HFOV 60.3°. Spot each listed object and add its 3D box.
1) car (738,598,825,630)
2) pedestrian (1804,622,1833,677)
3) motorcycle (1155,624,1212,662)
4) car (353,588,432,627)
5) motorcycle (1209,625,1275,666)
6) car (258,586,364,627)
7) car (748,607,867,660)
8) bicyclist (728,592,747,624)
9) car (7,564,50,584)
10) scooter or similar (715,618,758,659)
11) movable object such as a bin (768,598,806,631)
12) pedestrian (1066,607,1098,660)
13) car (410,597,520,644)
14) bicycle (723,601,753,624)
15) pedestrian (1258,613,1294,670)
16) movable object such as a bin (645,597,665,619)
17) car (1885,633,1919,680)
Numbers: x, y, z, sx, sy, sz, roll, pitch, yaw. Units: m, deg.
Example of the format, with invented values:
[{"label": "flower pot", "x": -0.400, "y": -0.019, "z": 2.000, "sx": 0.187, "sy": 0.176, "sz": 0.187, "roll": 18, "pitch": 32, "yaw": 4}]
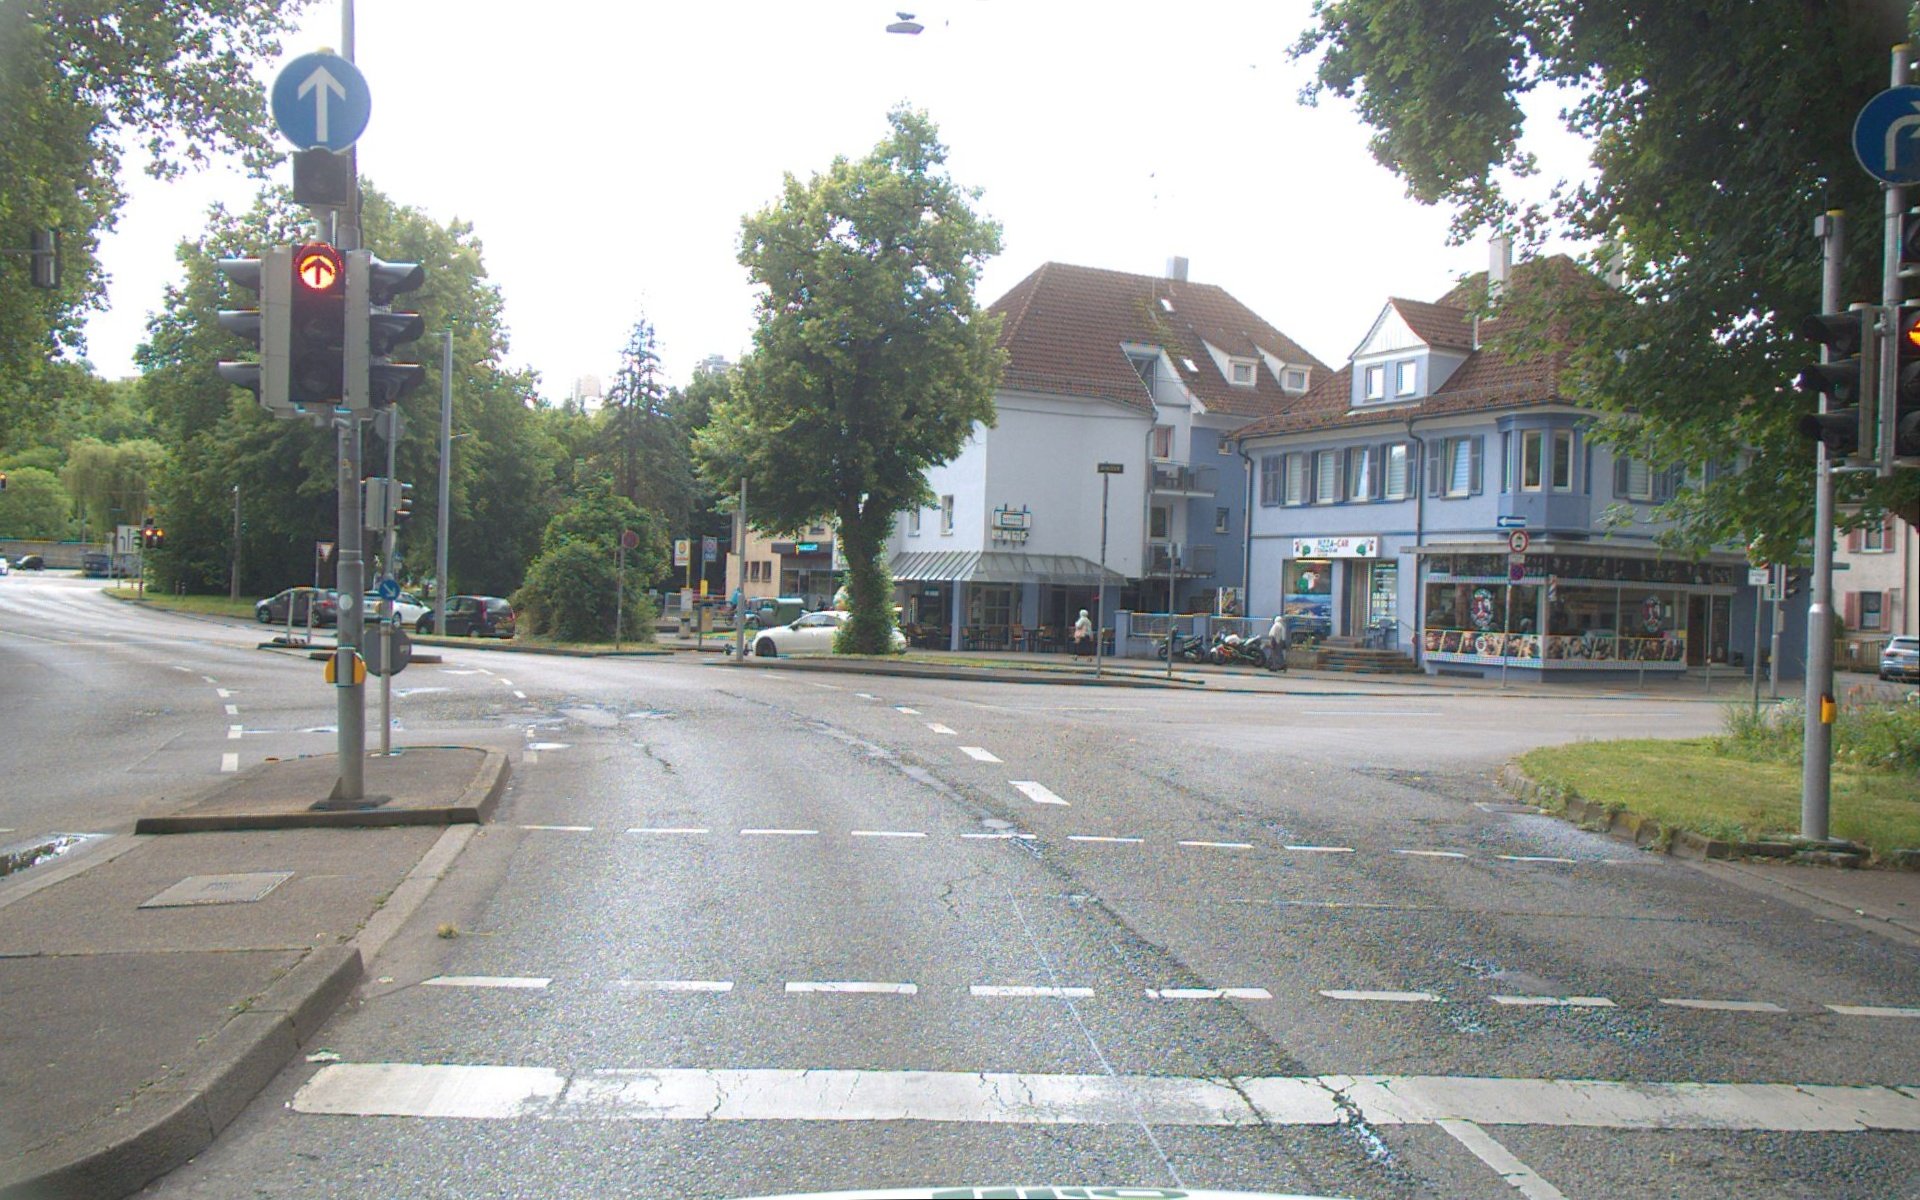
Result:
[{"label": "car", "x": -8.164, "y": 0.645, "z": 75.739, "sx": 3.690, "sy": 1.368, "sz": 1.421, "roll": 1, "pitch": 0, "yaw": -27}, {"label": "pedestrian", "x": 24.503, "y": 1.407, "z": 47.204, "sx": 0.451, "sy": 1.544, "sz": 0.584, "roll": 1, "pitch": -1, "yaw": -21}, {"label": "motorcycle", "x": 6.787, "y": 1.296, "z": 50.244, "sx": 1.609, "sy": 1.082, "sz": 0.690, "roll": 1, "pitch": 0, "yaw": 44}, {"label": "car", "x": -22.674, "y": 0.310, "z": 66.191, "sx": 1.512, "sy": 1.490, "sz": 3.398, "roll": 1, "pitch": 0, "yaw": 10}, {"label": "motorcycle", "x": 8.268, "y": 1.313, "z": 48.487, "sx": 1.765, "sy": 1.141, "sz": 0.692, "roll": 1, "pitch": 0, "yaw": 38}, {"label": "car", "x": -24.865, "y": 0.248, "z": 63.400, "sx": 3.469, "sy": 1.490, "sz": 1.586, "roll": 1, "pitch": 0, "yaw": 12}, {"label": "car", "x": -4.250, "y": 0.920, "z": 45.965, "sx": 3.110, "sy": 1.378, "sz": 1.435, "roll": 1, "pitch": 0, "yaw": 34}, {"label": "bicyclist", "x": -10.936, "y": 0.384, "z": 81.378, "sx": 0.587, "sy": 1.568, "sz": 0.738, "roll": 1, "pitch": 0, "yaw": 30}, {"label": "car", "x": -102.223, "y": -2.817, "z": 181.496, "sx": 3.948, "sy": 2.049, "sz": 1.978, "roll": 1, "pitch": 0, "yaw": -32}, {"label": "scooter or similar", "x": -5.735, "y": 0.984, "z": 42.548, "sx": 0.408, "sy": 1.029, "sz": 1.567, "roll": 1, "pitch": 0, "yaw": 20}, {"label": "movable object such as a bin", "x": -7.724, "y": 0.661, "z": 73.848, "sx": 1.424, "sy": 1.433, "sz": 0.959, "roll": 1, "pitch": 0, "yaw": -27}, {"label": "pedestrian", "x": 3.711, "y": 1.024, "z": 50.389, "sx": 0.694, "sy": 1.572, "sz": 0.675, "roll": 1, "pitch": 0, "yaw": 39}, {"label": "car", "x": -16.012, "y": 0.662, "z": 53.469, "sx": 3.519, "sy": 1.418, "sz": 1.468, "roll": 1, "pitch": 0, "yaw": 32}, {"label": "bicycle", "x": -10.918, "y": 0.630, "z": 81.405, "sx": 0.591, "sy": 1.131, "sz": 1.576, "roll": 1, "pitch": 0, "yaw": 32}, {"label": "pedestrian", "x": 8.861, "y": 1.161, "z": 46.351, "sx": 0.754, "sy": 1.572, "sz": 0.675, "roll": 1, "pitch": -1, "yaw": 38}, {"label": "movable object such as a bin", "x": -15.858, "y": 0.399, "z": 85.921, "sx": 0.937, "sy": 1.135, "sz": 0.381, "roll": 1, "pitch": 0, "yaw": -22}, {"label": "car", "x": 29.847, "y": 1.740, "z": 51.421, "sx": 1.471, "sy": 1.393, "sz": 3.164, "roll": 1, "pitch": 0, "yaw": 38}]
